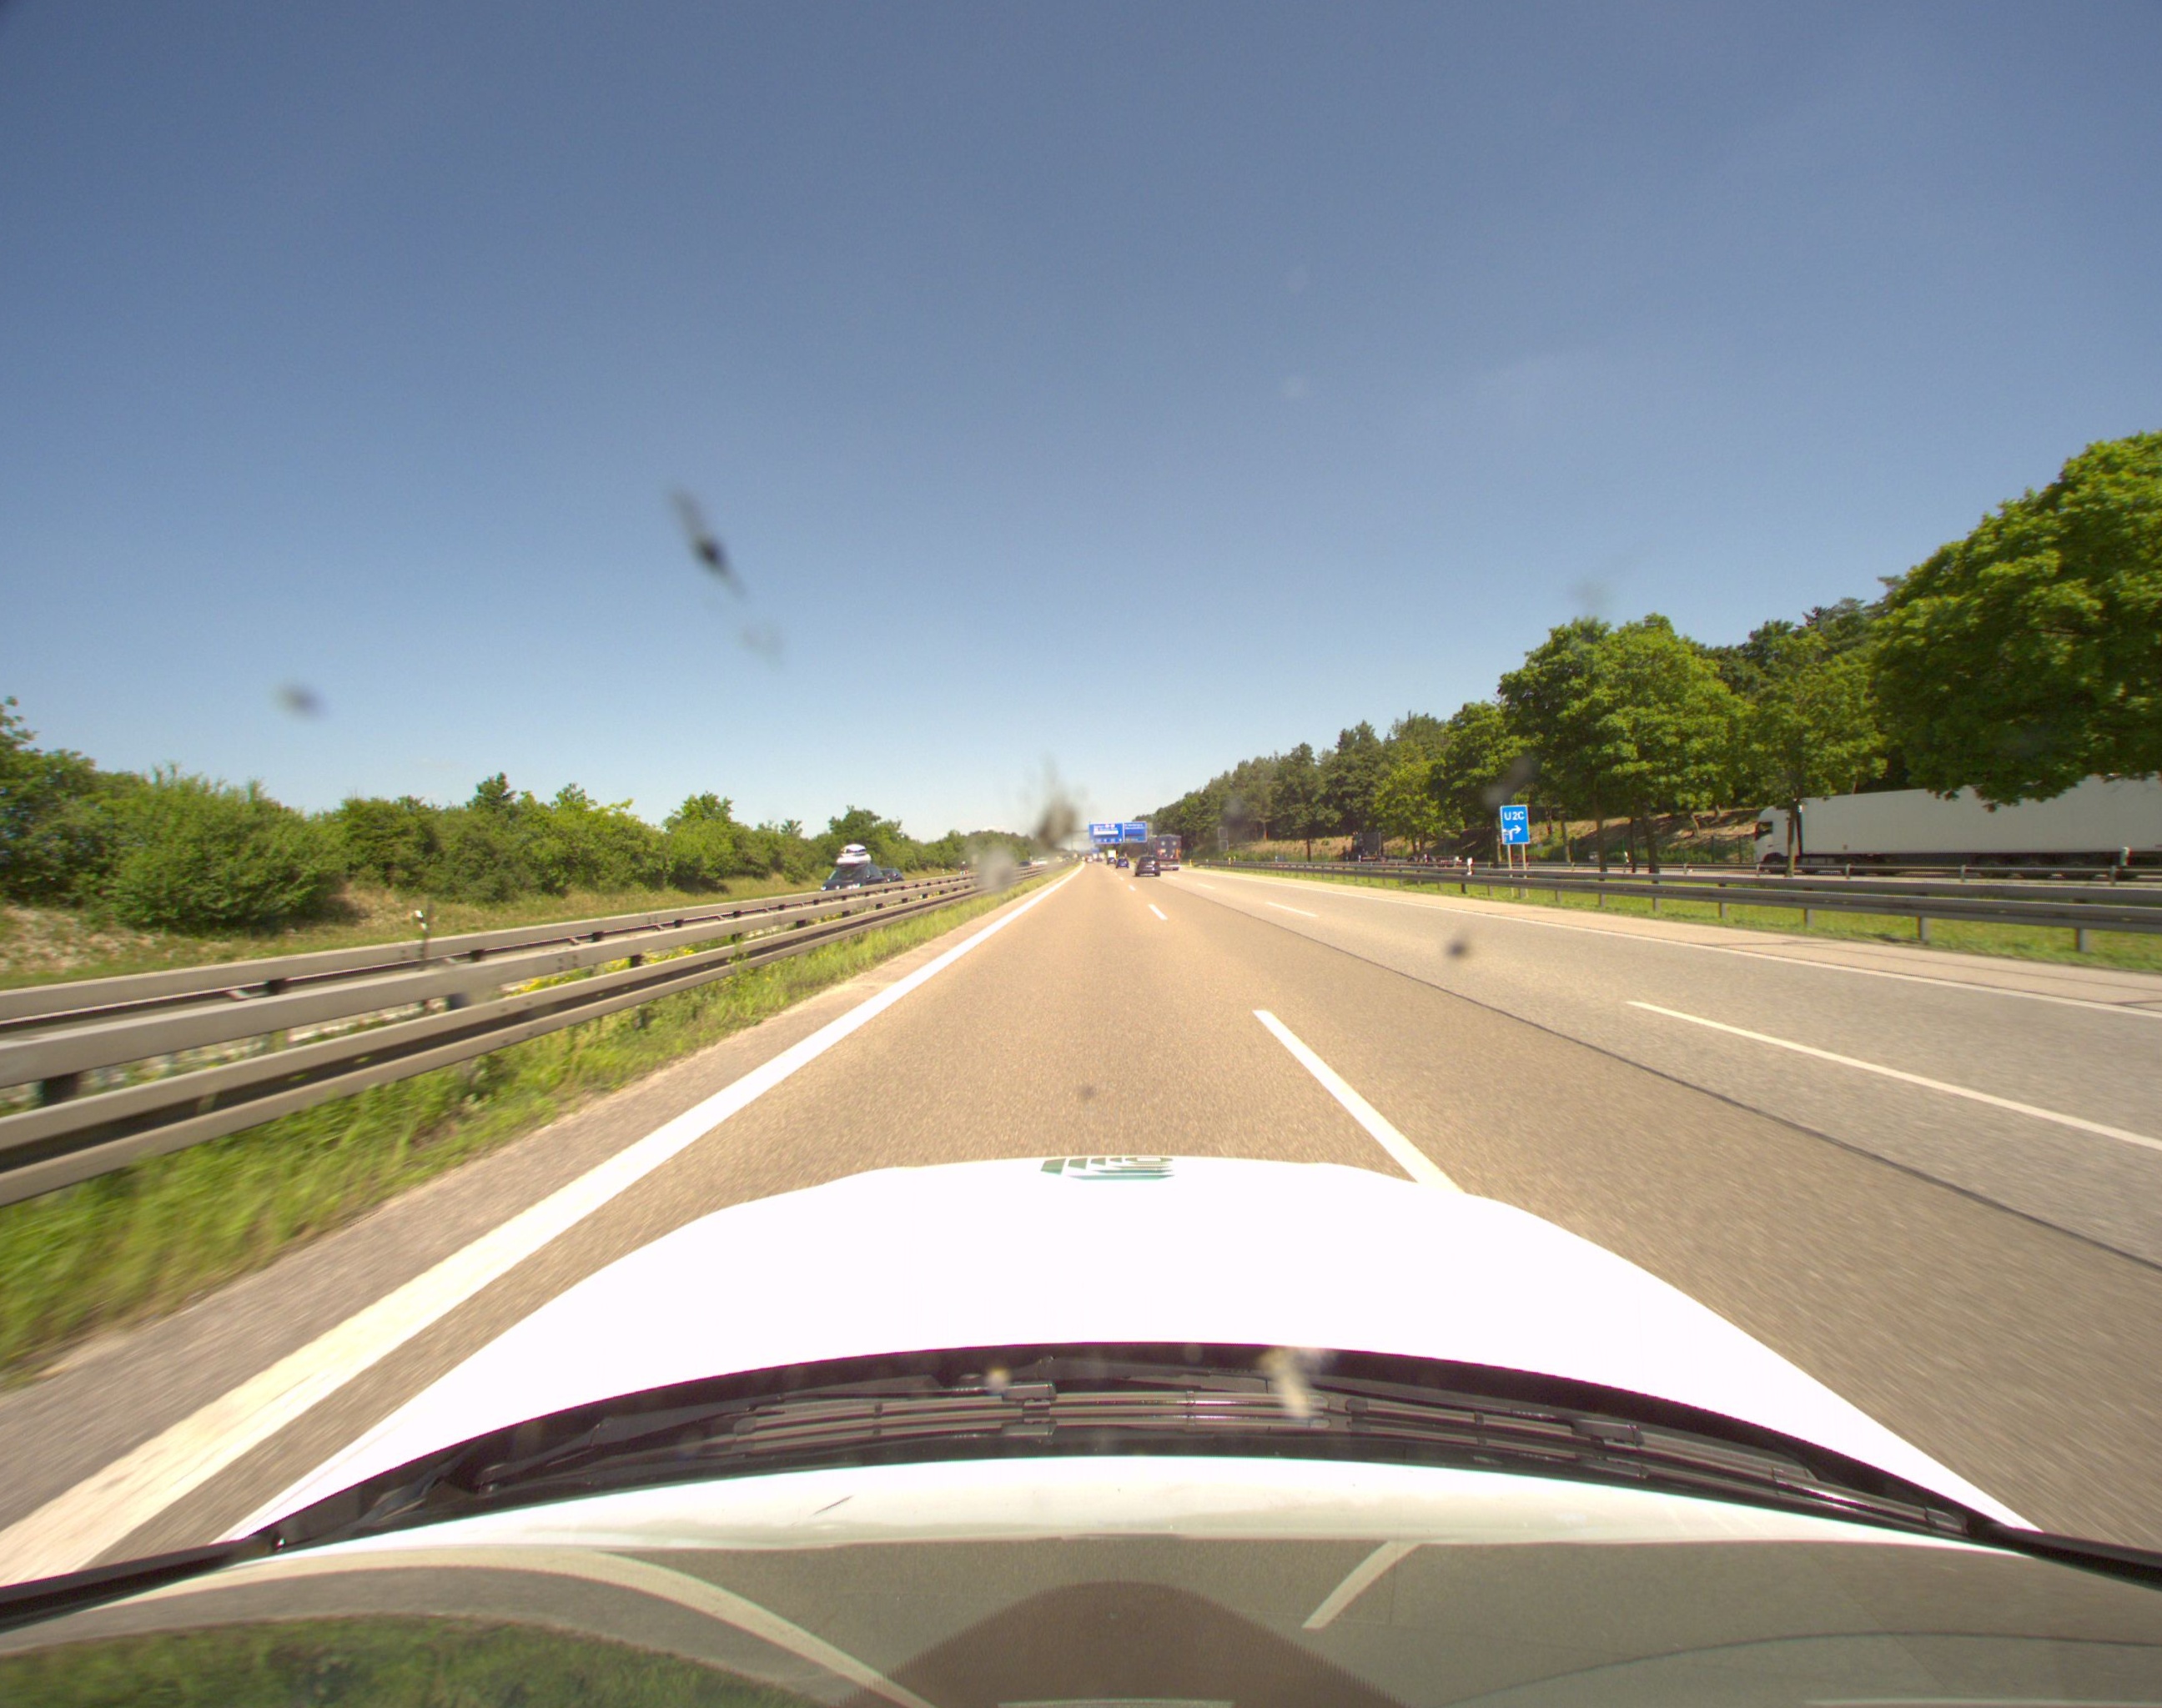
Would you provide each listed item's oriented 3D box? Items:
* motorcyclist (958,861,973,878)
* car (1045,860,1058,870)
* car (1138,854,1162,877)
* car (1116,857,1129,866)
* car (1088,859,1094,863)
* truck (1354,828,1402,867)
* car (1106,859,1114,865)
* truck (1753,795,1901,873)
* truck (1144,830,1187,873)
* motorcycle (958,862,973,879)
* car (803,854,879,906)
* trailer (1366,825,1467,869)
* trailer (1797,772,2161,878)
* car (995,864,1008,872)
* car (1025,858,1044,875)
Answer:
[{"bbox_3d":[-8.041,1.062,56.587,0.872,1.076,0.811,-3,-1,2],"label":"motorcyclist"},{"bbox_3d":[-5.545,2.033,153.115,1.913,1.873,5.520,0,-1,2],"label":"car"},{"bbox_3d":[5.400,0.857,63.662,1.791,1.669,4.264,0,0,5],"label":"car"},{"bbox_3d":[5.716,1.063,111.898,1.702,1.155,3.691,-2,0,2],"label":"car"},{"bbox_3d":[2.993,2.051,245.607,1.465,1.227,3.412,-2,0,2],"label":"car"},{"bbox_3d":[31.402,-0.633,86.297,2.573,3.915,4.847,-1,0,-11],"label":"truck"},{"bbox_3d":[6.070,1.662,170.264,1.465,1.398,3.412,1,0,2],"label":"car"},{"bbox_3d":[38.907,-0.977,42.702,2.804,3.797,5.136,-1,0,-5],"label":"truck"},{"bbox_3d":[9.387,-0.287,91.963,3.765,4.422,14.057,-1,0,2],"label":"truck"},{"bbox_3d":[-8.033,1.141,56.631,0.661,1.076,1.882,-3,-1,2],"label":"motorcycle"},{"bbox_3d":[-10.880,1.124,37.199,1.986,2.109,4.304,-3,0,2],"label":"car"},{"bbox_3d":[32.648,-0.594,80.119,2.573,3.915,12.698,-1,0,-11],"label":"trailer"},{"bbox_3d":[39.556,-1.017,35.706,2.853,3.796,14.162,-1,0,-5],"label":"trailer"},{"bbox_3d":[-14.648,2.526,150.027,1.781,1.439,4.523,-2,0,2],"label":"car"},{"bbox_3d":[-5.858,1.622,103.350,1.986,2.013,4.002,-2,0,2],"label":"car"}]
